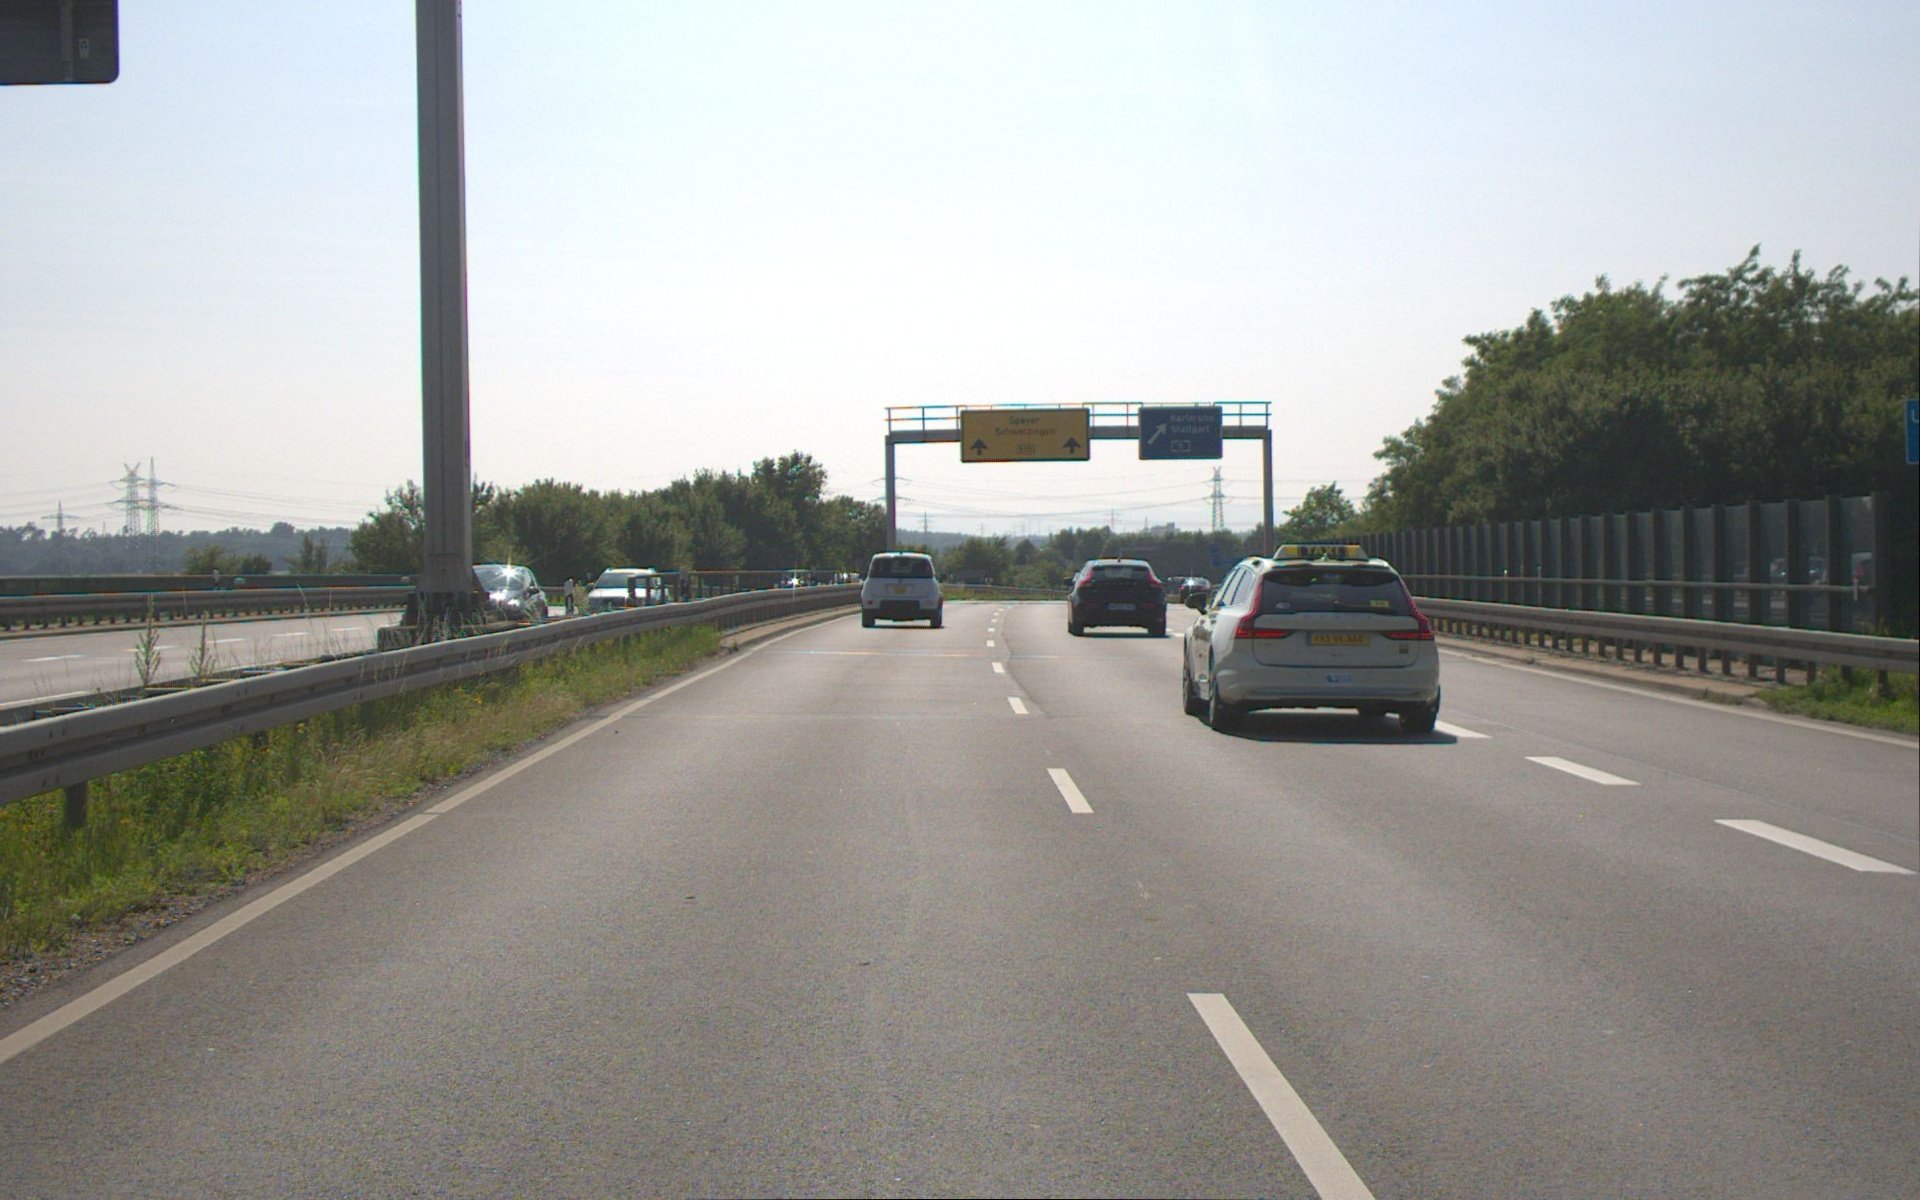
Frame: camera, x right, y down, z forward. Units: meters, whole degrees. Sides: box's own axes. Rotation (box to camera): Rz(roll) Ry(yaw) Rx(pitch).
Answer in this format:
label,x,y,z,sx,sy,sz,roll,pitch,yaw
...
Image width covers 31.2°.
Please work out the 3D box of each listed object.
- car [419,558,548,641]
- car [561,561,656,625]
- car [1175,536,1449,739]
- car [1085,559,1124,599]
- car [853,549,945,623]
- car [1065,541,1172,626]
label,x,y,z,sx,sy,sz,roll,pitch,yaw
car,-8.970,-0.036,64.957,1.795,1.468,4.000,1,1,1
car,-8.463,-0.193,83.138,1.873,1.433,4.503,1,1,-1
car,2.955,0.270,29.659,1.958,1.596,4.107,1,1,1
car,7.569,-1.128,179.574,1.994,2.007,4.000,1,1,3
car,-1.248,-0.291,71.723,1.793,1.498,4.043,0,0,1
car,2.955,-0.310,64.730,1.793,1.538,3.672,1,0,0
